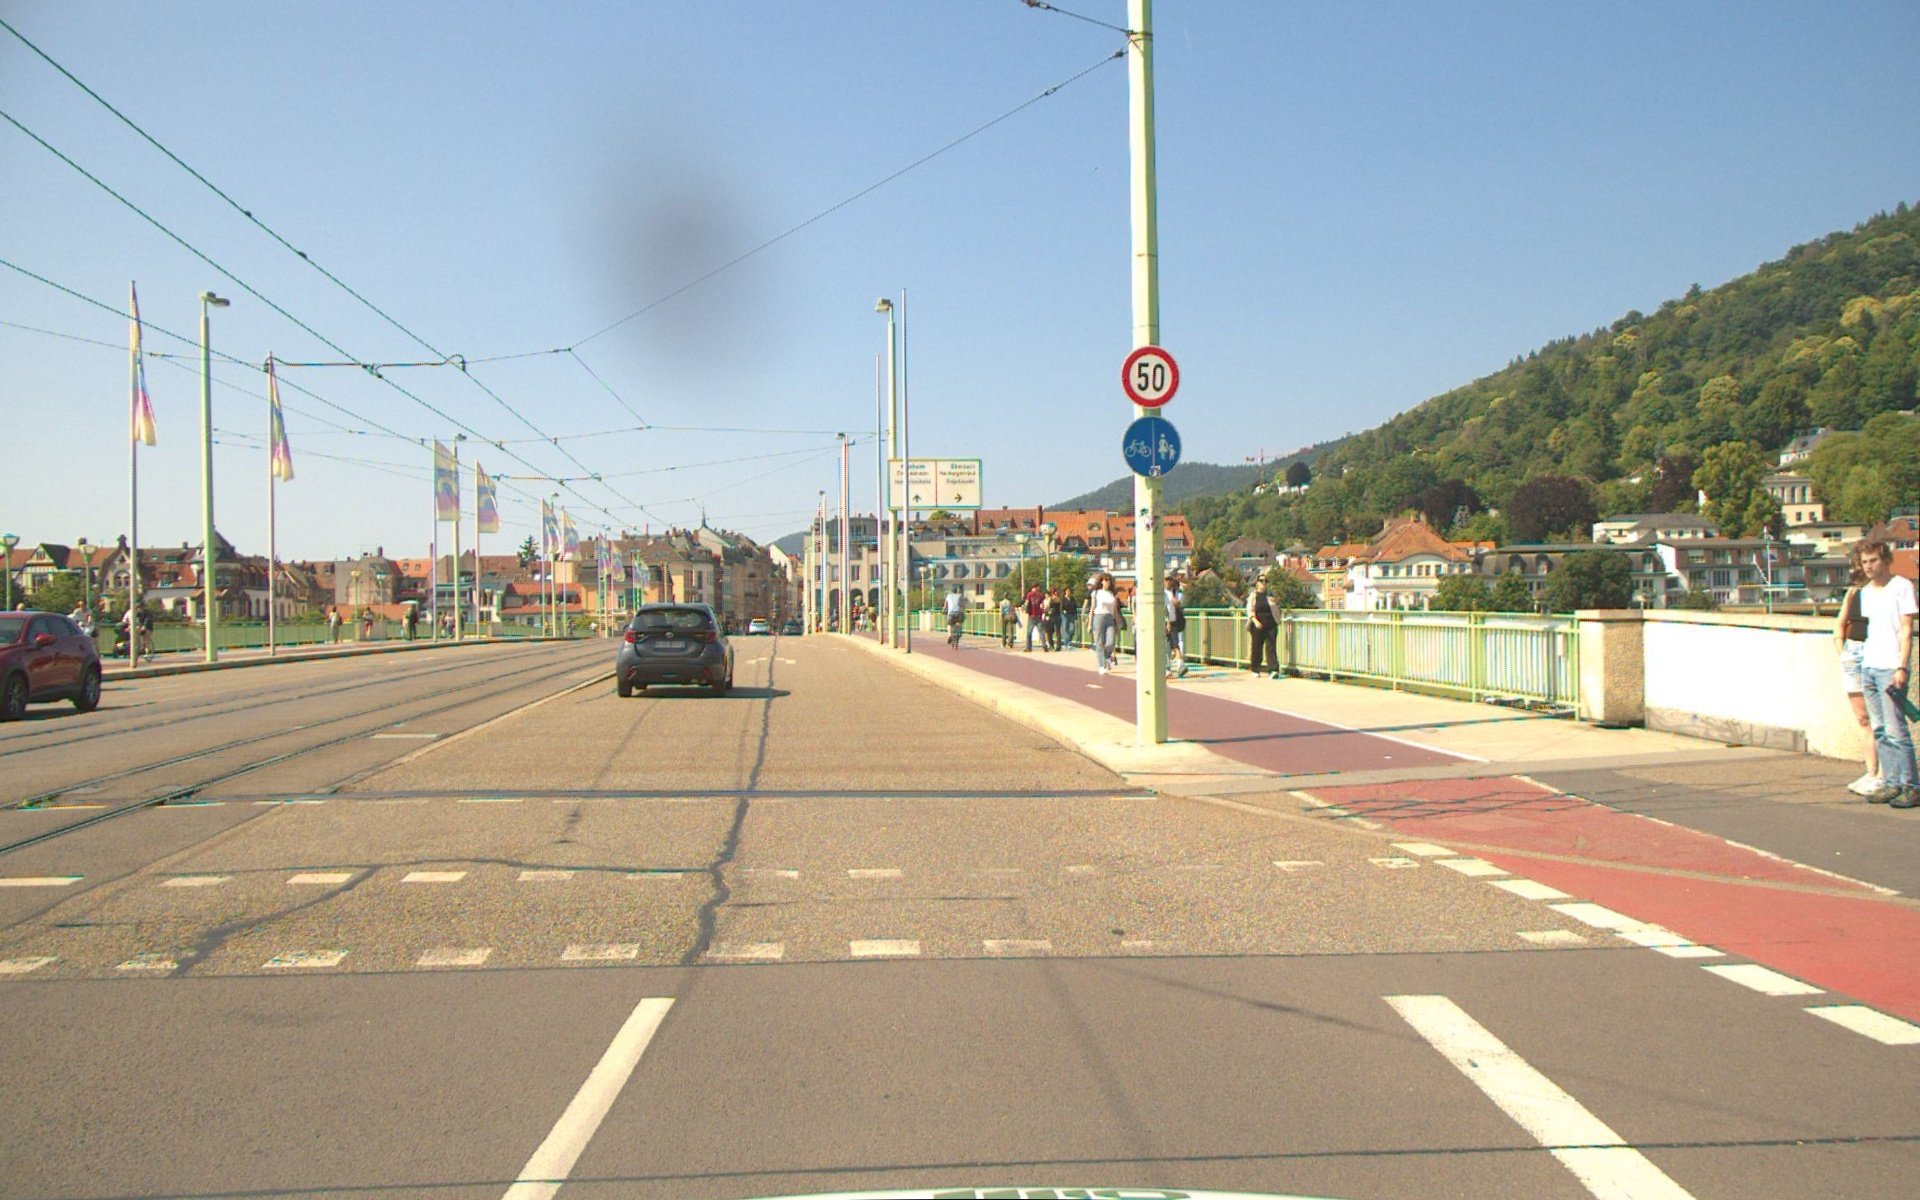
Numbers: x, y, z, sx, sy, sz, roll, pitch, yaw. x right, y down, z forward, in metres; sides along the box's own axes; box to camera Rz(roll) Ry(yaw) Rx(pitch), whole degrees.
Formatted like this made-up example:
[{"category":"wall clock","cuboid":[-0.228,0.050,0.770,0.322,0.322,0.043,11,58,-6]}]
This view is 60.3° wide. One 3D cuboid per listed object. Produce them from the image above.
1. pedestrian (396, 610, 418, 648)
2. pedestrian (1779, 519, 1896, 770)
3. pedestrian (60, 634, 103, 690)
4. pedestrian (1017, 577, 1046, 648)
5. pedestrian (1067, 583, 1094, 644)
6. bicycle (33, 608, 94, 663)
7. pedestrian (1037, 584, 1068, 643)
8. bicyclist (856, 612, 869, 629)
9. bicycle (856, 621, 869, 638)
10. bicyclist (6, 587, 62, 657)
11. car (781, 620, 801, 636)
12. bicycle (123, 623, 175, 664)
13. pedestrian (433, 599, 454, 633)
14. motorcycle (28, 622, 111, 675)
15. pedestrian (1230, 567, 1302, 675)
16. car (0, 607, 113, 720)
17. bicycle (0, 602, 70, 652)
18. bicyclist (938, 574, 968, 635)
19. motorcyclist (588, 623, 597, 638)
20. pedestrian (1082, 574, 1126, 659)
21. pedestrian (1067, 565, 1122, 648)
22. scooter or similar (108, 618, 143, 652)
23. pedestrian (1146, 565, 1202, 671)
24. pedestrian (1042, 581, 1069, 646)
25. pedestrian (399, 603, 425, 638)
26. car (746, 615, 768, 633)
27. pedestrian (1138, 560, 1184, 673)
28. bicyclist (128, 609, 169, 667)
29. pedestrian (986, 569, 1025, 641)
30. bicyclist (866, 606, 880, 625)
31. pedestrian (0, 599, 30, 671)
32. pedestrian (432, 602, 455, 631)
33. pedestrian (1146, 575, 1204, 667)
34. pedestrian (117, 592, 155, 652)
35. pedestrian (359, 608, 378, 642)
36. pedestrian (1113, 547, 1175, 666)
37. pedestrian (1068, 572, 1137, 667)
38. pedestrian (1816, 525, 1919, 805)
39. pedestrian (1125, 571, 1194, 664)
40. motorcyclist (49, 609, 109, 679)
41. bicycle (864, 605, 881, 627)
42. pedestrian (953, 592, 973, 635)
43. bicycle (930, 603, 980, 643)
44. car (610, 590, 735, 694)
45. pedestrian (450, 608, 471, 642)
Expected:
[{"category":"pedestrian","cuboid":[-29.935,1.569,89.537,0.951,2.049,1.098,-1,-1,-12]},{"category":"pedestrian","cuboid":[6.413,0.315,12.103,0.523,1.791,0.576,0,0,-4]},{"category":"pedestrian","cuboid":[-23.623,1.650,44.497,0.729,1.481,0.898,-1,-1,-7]},{"category":"pedestrian","cuboid":[1.852,0.329,42.791,0.575,1.825,0.630,-1,-1,-12]},{"category":"pedestrian","cuboid":[3.299,0.381,45.342,0.637,1.660,0.691,0,-1,-6]},{"category":"bicycle","cuboid":[-24.075,0.940,44.466,0.692,1.424,2.158,3,-1,-9]},{"category":"pedestrian","cuboid":[2.511,0.366,45.142,0.638,1.590,0.690,-2,0,-13]},{"category":"bicyclist","cuboid":[-5.970,1.261,101.277,0.721,1.049,1.173,-1,-1,-8]},{"category":"bicycle","cuboid":[-5.984,1.802,101.341,0.607,1.056,2.047,-1,-1,-8]},{"category":"bicyclist","cuboid":[-22.327,0.513,39.891,0.860,1.637,0.771,-2,1,-5]},{"category":"car","cuboid":[-16.803,2.767,164.403,1.768,1.494,3.996,-2,-1,-4]},{"category":"bicycle","cuboid":[-23.531,1.253,48.006,0.744,1.133,1.917,-1,-1,-7]},{"category":"pedestrian","cuboid":[-31.854,0.978,101.965,1.077,2.049,1.127,-1,-1,-9]},{"category":"motorcycle","cuboid":[-18.003,0.968,33.475,0.829,1.043,1.948,0,-1,-8]},{"category":"pedestrian","cuboid":[4.829,0.333,26.166,0.785,1.664,0.947,-1,-1,-12]},{"category":"car","cuboid":[-14.183,0.907,24.013,1.955,1.541,4.184,-1,-1,-6]},{"category":"bicycle","cuboid":[-22.298,0.630,39.899,0.744,1.133,1.918,1,1,-5]},{"category":"bicyclist","cuboid":[-0.206,0.141,48.552,0.661,1.774,1.147,-1,-1,-11]},{"category":"motorcyclist","cuboid":[-37.141,3.084,167.069,0.785,1.576,1.067,-1,-1,-7]},{"category":"pedestrian","cuboid":[2.895,0.340,33.329,0.643,1.679,0.865,-1,-1,-12]},{"category":"pedestrian","cuboid":[3.192,0.165,39.482,0.967,1.928,1.250,-1,-1,-12]},{"category":"scooter or similar","cuboid":[-26.247,1.101,52.033,0.725,1.047,0.831,3,-1,-9]},{"category":"pedestrian","cuboid":[3.565,0.301,27.587,0.683,1.747,0.729,-1,-1,-13]},{"category":"pedestrian","cuboid":[2.466,0.361,42.913,0.513,1.678,0.697,-1,-1,-12]},{"category":"pedestrian","cuboid":[-28.838,1.074,87.022,1.077,1.789,1.292,1,0,-9]},{"category":"car","cuboid":[-18.306,2.130,148.791,1.771,1.494,3.991,-2,-1,-9]},{"category":"pedestrian","cuboid":[3.279,0.270,26.997,0.539,1.830,0.644,-1,-1,-12]},{"category":"bicyclist","cuboid":[-23.525,1.105,47.956,0.860,1.637,0.770,-1,-1,-7]},{"category":"pedestrian","cuboid":[1.306,0.141,47.660,0.858,2.049,1.056,-1,-1,-12]},{"category":"bicyclist","cuboid":[-4.992,0.870,94.446,0.655,1.063,0.977,0,0,-13]},{"category":"pedestrian","cuboid":[-24.651,0.901,42.711,0.725,1.816,0.955,3,-1,-9]},{"category":"pedestrian","cuboid":[-31.814,1.020,101.832,1.076,1.760,1.294,0,0,-5]},{"category":"pedestrian","cuboid":[4.066,0.405,31.303,0.819,1.706,0.883,-1,-1,-13]},{"category":"pedestrian","cuboid":[-26.372,0.697,52.942,0.725,1.886,0.973,3,-1,-9]},{"category":"pedestrian","cuboid":[-30.411,1.299,85.049,0.740,1.752,1.173,0,-2,-9]},{"category":"pedestrian","cuboid":[3.234,0.122,29.168,0.789,2.049,0.951,-1,-1,-12]},{"category":"pedestrian","cuboid":[2.508,0.349,29.223,0.967,1.644,0.918,-1,-1,-13]},{"category":"pedestrian","cuboid":[6.500,0.435,11.481,0.758,1.888,0.644,0,0,-4]},{"category":"pedestrian","cuboid":[4.016,0.354,33.367,0.968,1.800,1.250,-2,0,-12]},{"category":"motorcyclist","cuboid":[-18.069,0.897,33.938,0.829,1.426,0.896,0,-1,-9]},{"category":"bicycle","cuboid":[-4.989,0.902,94.163,0.682,1.214,2.074,-1,-2,-10]},{"category":"pedestrian","cuboid":[0.134,0.563,69.647,0.643,1.774,0.975,-1,0,-13]},{"category":"bicycle","cuboid":[-0.181,0.674,48.466,0.778,1.115,3.734,-1,-1,-11]},{"category":"car","cuboid":[-4.767,0.661,27.666,1.875,1.567,3.991,-1,0,-9]},{"category":"pedestrian","cuboid":[-30.448,1.492,100.828,1.077,2.049,1.292,-1,-1,-9]}]
